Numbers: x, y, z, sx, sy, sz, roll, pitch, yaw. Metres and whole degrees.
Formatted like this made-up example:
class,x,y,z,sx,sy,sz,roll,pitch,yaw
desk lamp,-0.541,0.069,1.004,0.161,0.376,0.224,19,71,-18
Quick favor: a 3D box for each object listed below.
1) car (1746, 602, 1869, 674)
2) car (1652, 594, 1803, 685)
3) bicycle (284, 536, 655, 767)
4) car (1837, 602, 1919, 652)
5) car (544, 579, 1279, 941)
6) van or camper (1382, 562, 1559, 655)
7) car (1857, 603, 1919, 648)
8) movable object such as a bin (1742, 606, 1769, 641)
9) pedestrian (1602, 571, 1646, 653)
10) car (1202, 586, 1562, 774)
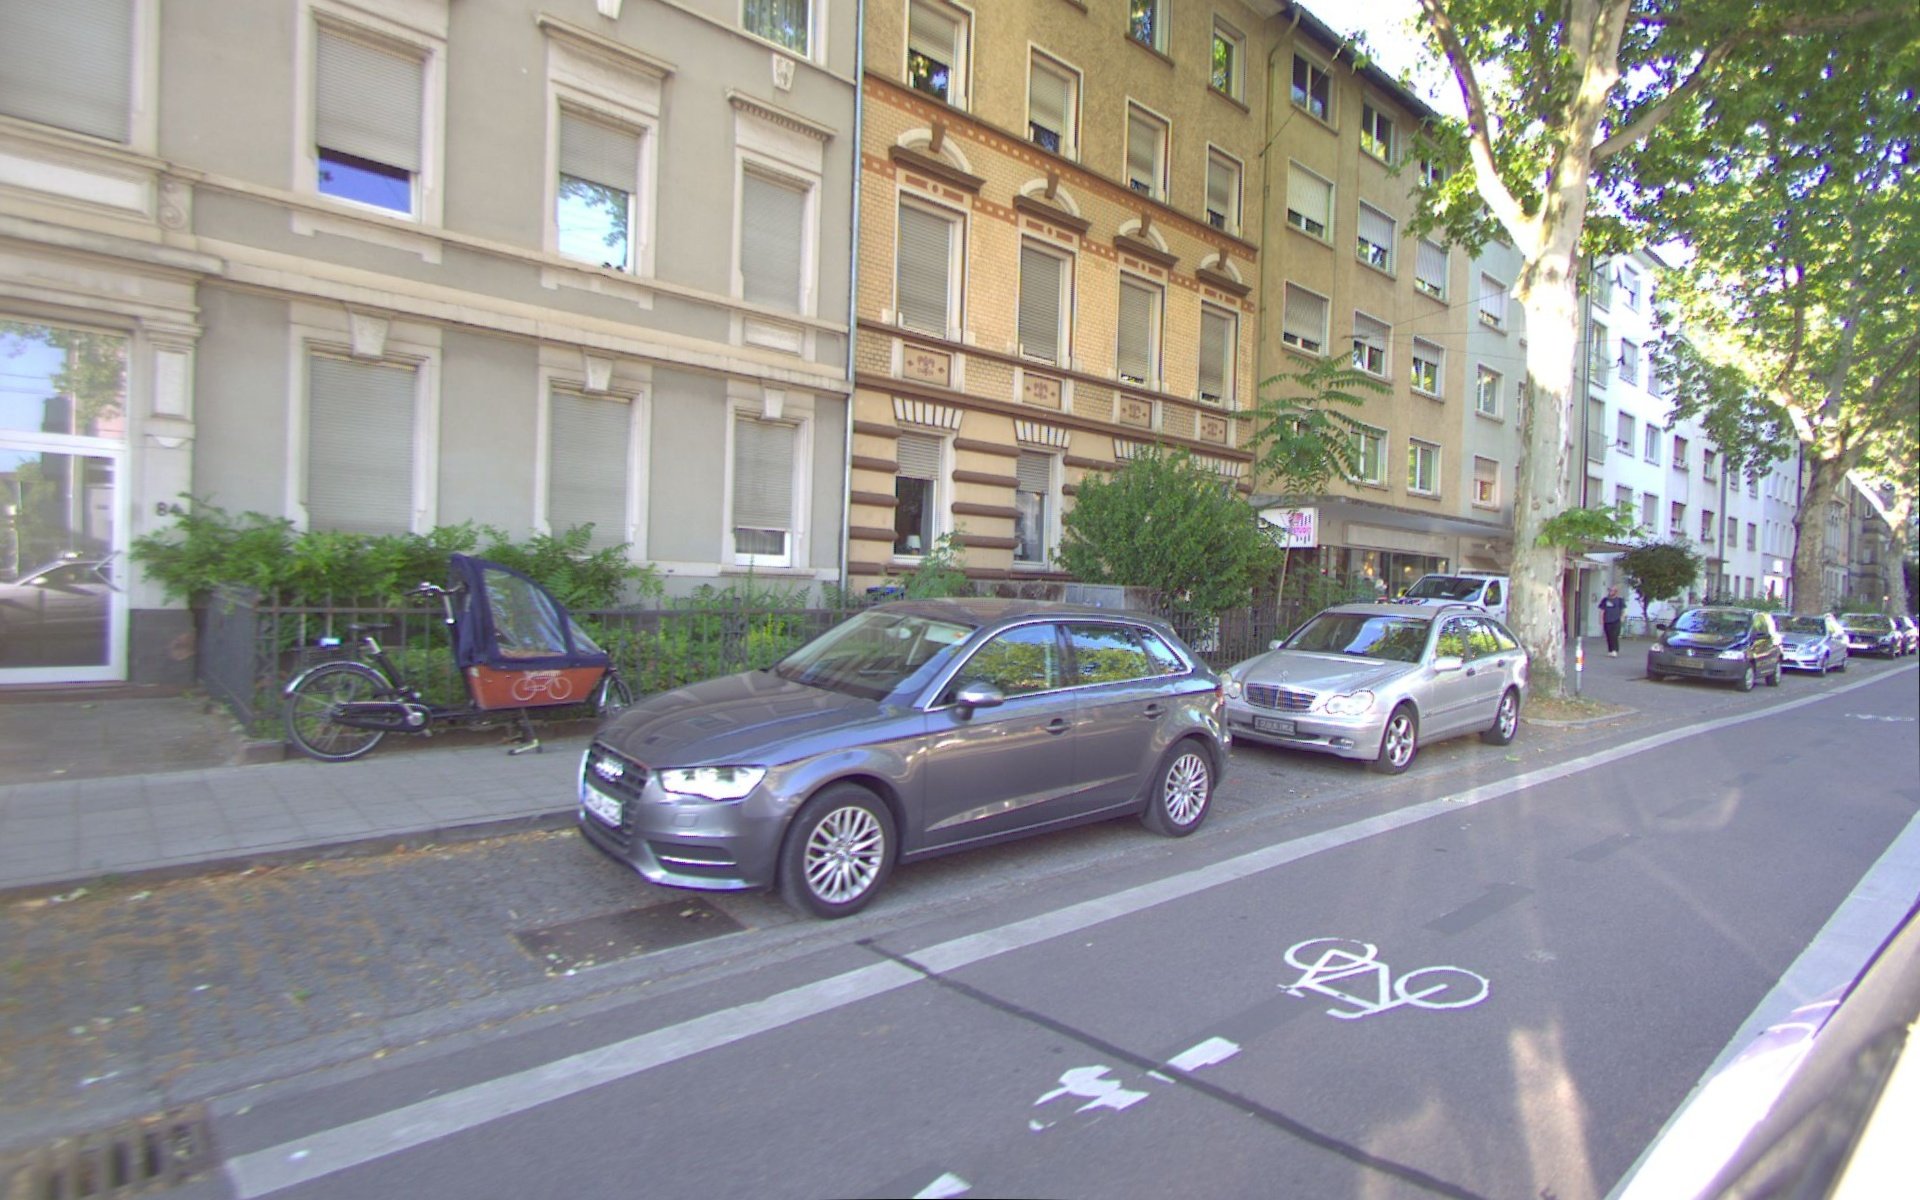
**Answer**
class,x,y,z,sx,sy,sz,roll,pitch,yaw
car,21.023,0.879,25.028,4.695,1.562,1.697,1,1,-42
car,15.262,0.719,20.045,3.931,1.564,1.656,1,2,-42
bicycle,-3.463,0.323,7.349,2.354,1.445,0.608,0,-1,-41
car,30.706,0.858,33.662,4.289,1.432,1.712,0,4,-42
car,-0.031,0.642,6.088,4.245,1.414,1.714,1,1,-40
van or camper,12.204,0.178,24.005,5.299,1.946,1.945,1,2,-42
car,34.237,0.906,36.925,4.289,1.432,1.712,0,4,-42
movable object such as a bin,27.137,0.789,34.527,0.655,1.173,0.616,0,1,-44
pedestrian,17.118,0.295,26.077,0.995,2.039,0.683,1,1,-43
car,4.463,0.647,10.308,4.494,1.469,1.676,0,2,-43
